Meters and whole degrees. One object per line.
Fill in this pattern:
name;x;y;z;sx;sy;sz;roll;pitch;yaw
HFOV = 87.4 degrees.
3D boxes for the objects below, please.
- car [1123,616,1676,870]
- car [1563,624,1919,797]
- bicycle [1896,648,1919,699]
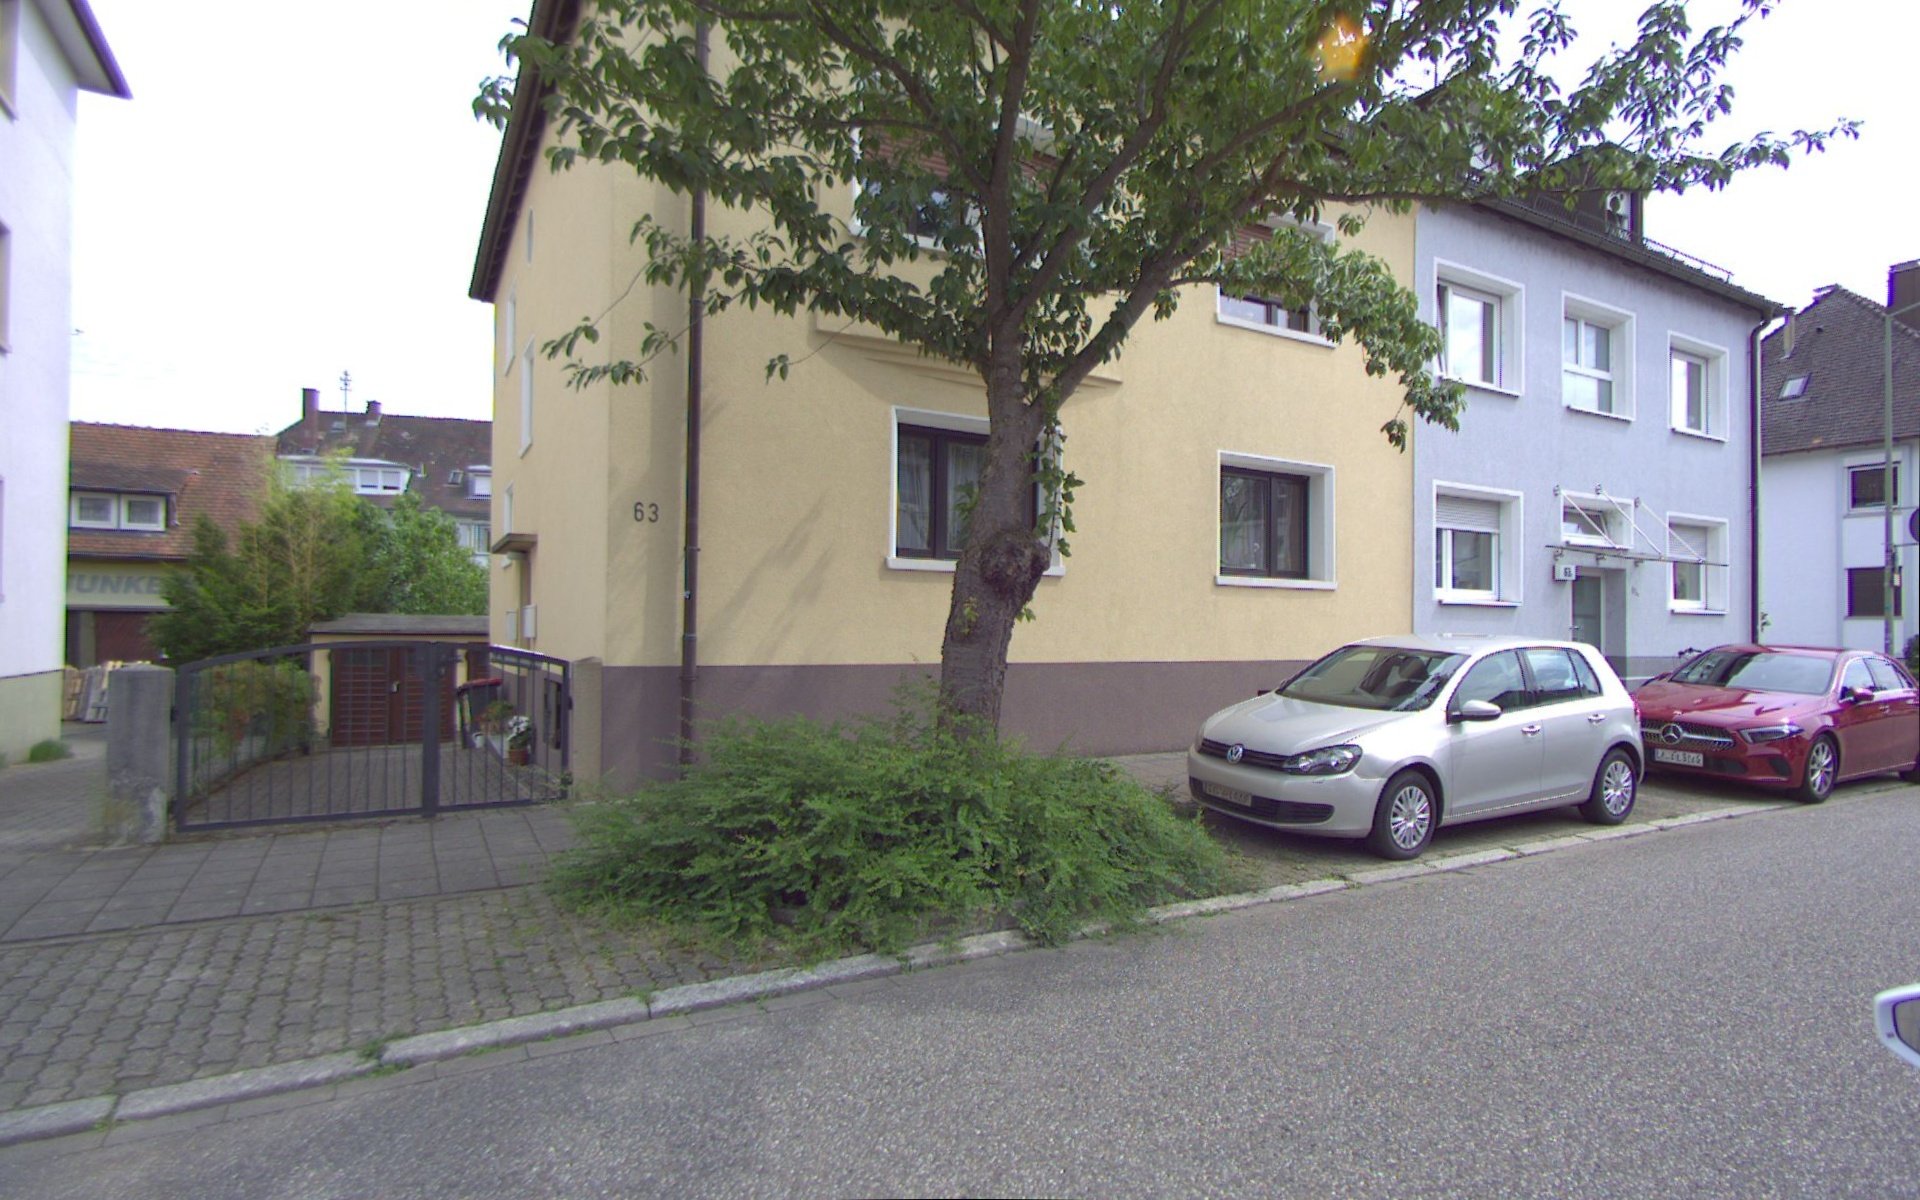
car;3.548;0.944;7.968;4.223;1.411;1.763;1;4;-29
car;8.671;1.074;10.746;4.459;1.505;1.869;2;-4;-30
bicycle;23.169;1.724;23.597;0.430;1.194;1.624;2;-4;-33
